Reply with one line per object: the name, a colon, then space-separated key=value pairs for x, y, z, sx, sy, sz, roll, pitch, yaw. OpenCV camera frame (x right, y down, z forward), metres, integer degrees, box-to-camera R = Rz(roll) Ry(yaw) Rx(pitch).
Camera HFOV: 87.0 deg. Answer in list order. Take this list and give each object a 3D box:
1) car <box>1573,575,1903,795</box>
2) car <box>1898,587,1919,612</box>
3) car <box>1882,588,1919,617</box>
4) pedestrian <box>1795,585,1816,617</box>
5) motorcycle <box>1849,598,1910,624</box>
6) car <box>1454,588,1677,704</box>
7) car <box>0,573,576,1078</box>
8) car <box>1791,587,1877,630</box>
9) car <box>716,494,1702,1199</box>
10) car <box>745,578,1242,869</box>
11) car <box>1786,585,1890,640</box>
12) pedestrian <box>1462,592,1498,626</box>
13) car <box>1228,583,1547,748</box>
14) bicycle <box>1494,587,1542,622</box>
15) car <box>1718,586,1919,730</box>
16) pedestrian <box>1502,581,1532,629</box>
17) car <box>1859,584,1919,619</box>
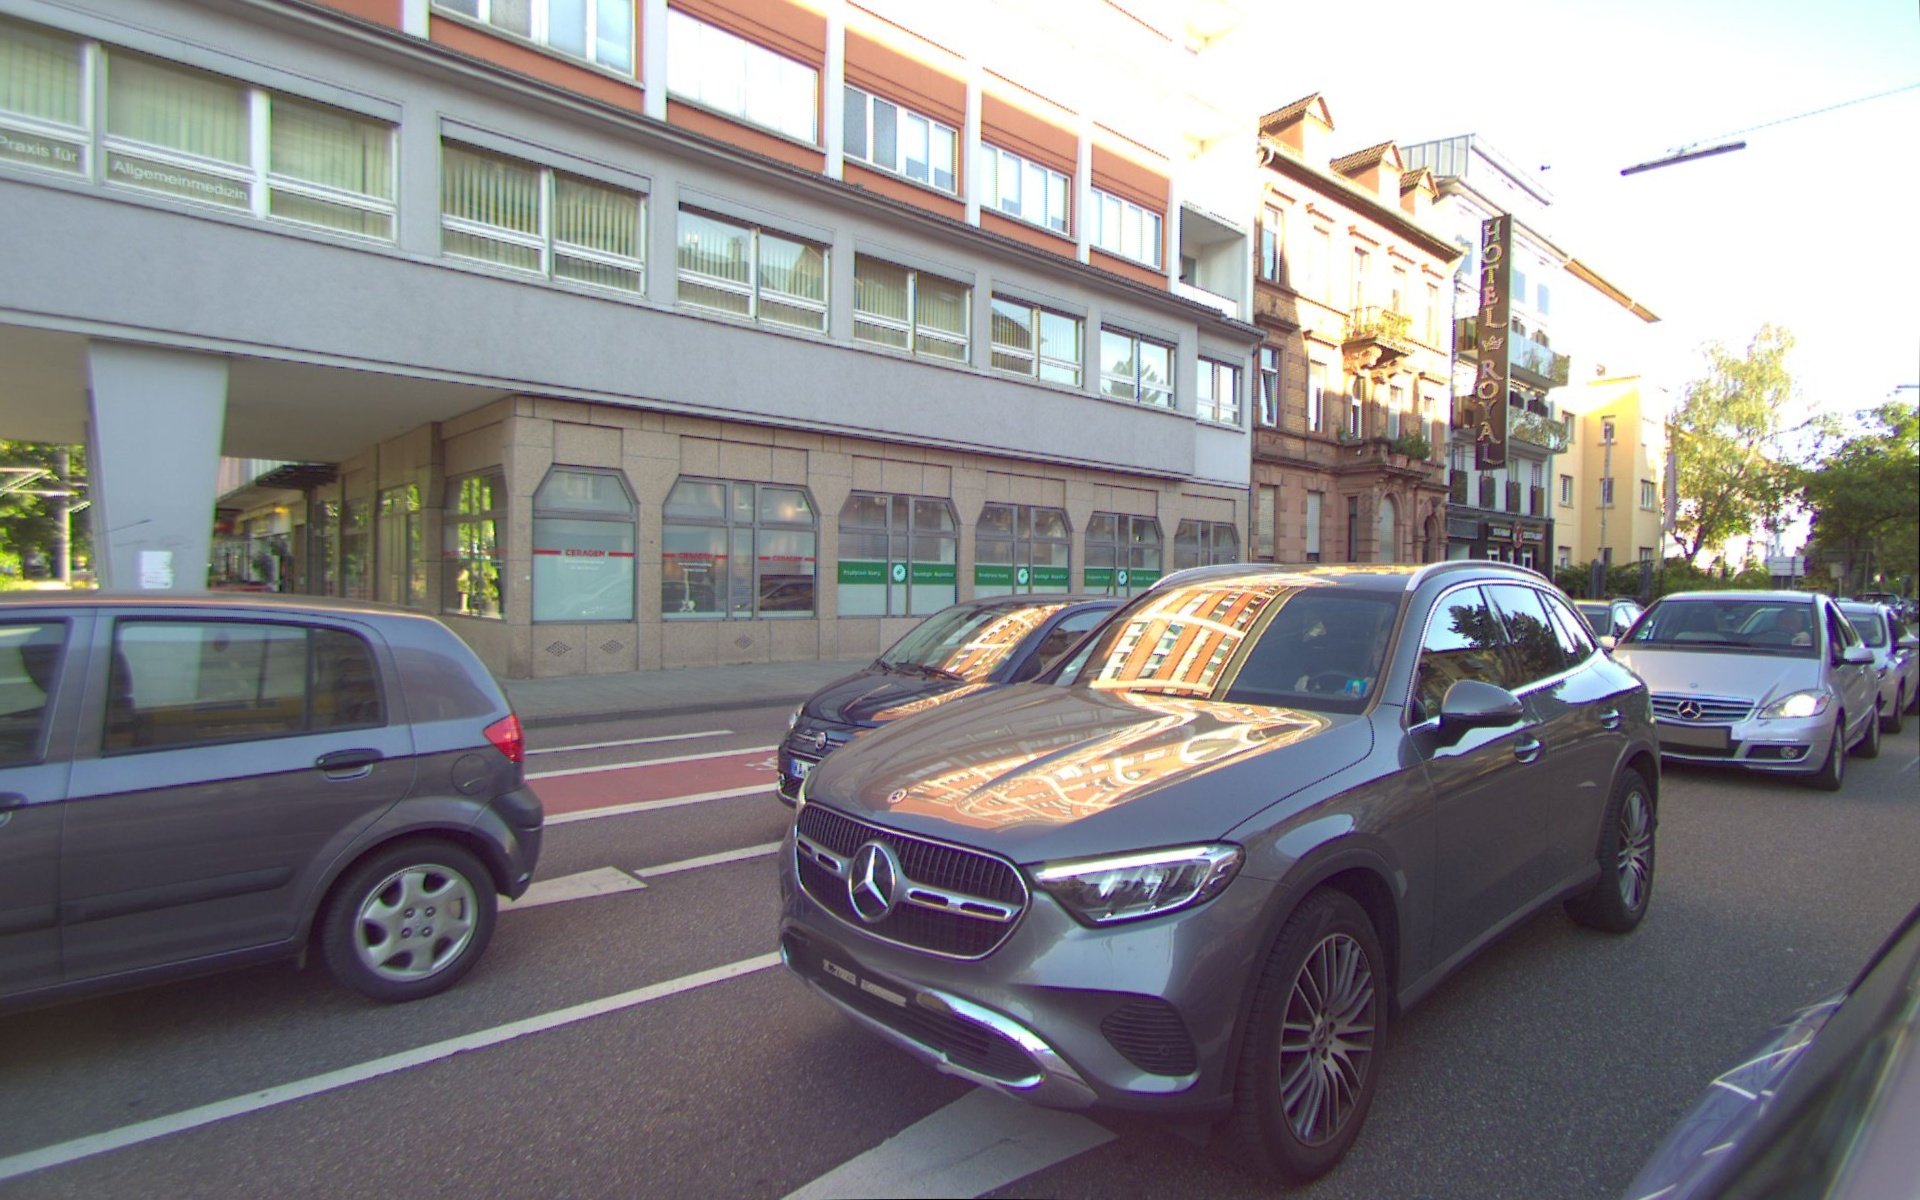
car: x=7.201 y=0.598 z=9.258 sx=3.557 sy=1.588 sz=1.806 roll=0 pitch=2 yaw=-43
car: x=58.372 y=-0.030 z=61.399 sx=4.408 sy=1.466 sz=1.773 roll=0 pitch=2 yaw=-42
car: x=53.311 y=0.117 z=57.028 sx=4.358 sy=1.490 sz=1.718 roll=0 pitch=2 yaw=-44
pedestrian: x=43.255 y=0.053 z=51.793 sx=0.570 sy=1.636 sz=0.747 roll=0 pitch=1 yaw=-43
motorcycle: x=41.126 y=0.472 z=45.306 sx=1.921 sy=1.084 sz=0.809 roll=2 pitch=1 yaw=37
car: x=9.095 y=0.582 z=15.061 sx=4.087 sy=1.475 sz=1.710 roll=0 pitch=1 yaw=-42
car: x=-3.390 y=0.653 z=3.455 sx=3.585 sy=1.465 sz=1.587 roll=0 pitch=0 yaw=-42
car: x=35.158 y=0.302 z=40.690 sx=4.749 sy=1.531 sz=1.860 roll=0 pitch=3 yaw=-40
car: x=1.418 y=0.588 z=4.153 sx=4.402 sy=1.653 sz=1.786 roll=0 pitch=1 yaw=-43
car: x=0.381 y=0.635 z=7.083 sx=3.420 sy=1.524 sz=1.491 roll=0 pitch=2 yaw=-43
car: x=26.729 y=0.337 z=30.776 sx=3.933 sy=1.553 sz=1.996 roll=0 pitch=1 yaw=-43
pedestrian: x=16.555 y=0.269 z=32.225 sx=0.927 sy=1.056 sz=0.692 roll=0 pitch=1 yaw=-38
car: x=4.868 y=0.578 z=11.232 sx=4.166 sy=1.503 sz=1.653 roll=0 pitch=0 yaw=-42
bicycle: x=19.876 y=0.146 z=36.054 sx=1.415 sy=1.124 sz=0.483 roll=4 pitch=3 yaw=32
car: x=11.197 y=0.604 z=12.862 sx=4.235 sy=1.529 sz=1.710 roll=0 pitch=1 yaw=-42
pedestrian: x=19.786 y=0.180 z=35.927 sx=0.681 sy=1.664 sz=0.708 roll=1 pitch=1 yaw=-42
car: x=46.999 y=0.046 z=51.077 sx=4.715 sy=1.675 sz=1.950 roll=0 pitch=2 yaw=-43
